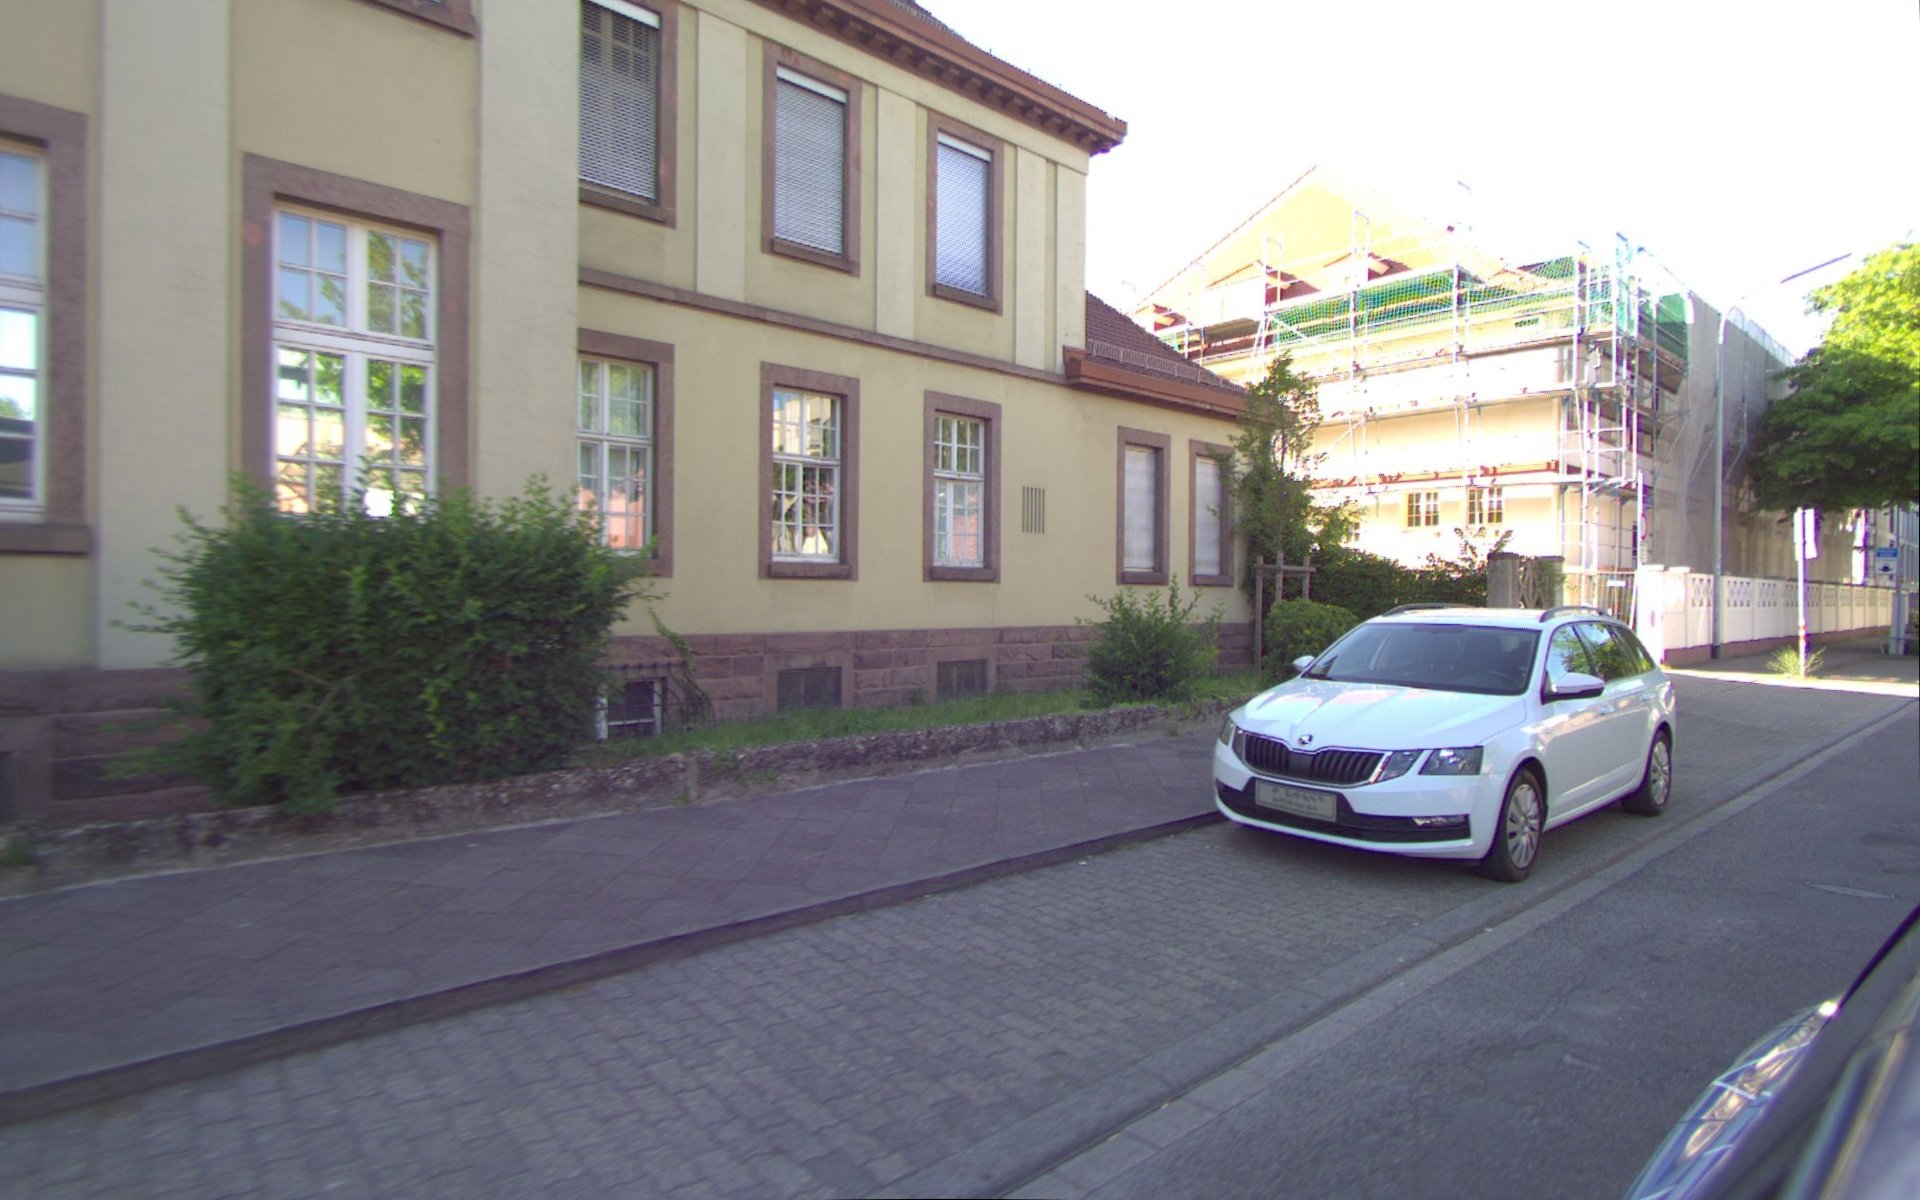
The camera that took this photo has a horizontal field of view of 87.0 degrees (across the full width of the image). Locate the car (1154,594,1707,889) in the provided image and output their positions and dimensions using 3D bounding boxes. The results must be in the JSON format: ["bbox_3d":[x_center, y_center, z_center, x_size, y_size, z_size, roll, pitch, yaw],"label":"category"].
[{"bbox_3d":[3.425,0.653,6.901,4.419,1.339,1.835,0,1,-42],"label":"car"}]
